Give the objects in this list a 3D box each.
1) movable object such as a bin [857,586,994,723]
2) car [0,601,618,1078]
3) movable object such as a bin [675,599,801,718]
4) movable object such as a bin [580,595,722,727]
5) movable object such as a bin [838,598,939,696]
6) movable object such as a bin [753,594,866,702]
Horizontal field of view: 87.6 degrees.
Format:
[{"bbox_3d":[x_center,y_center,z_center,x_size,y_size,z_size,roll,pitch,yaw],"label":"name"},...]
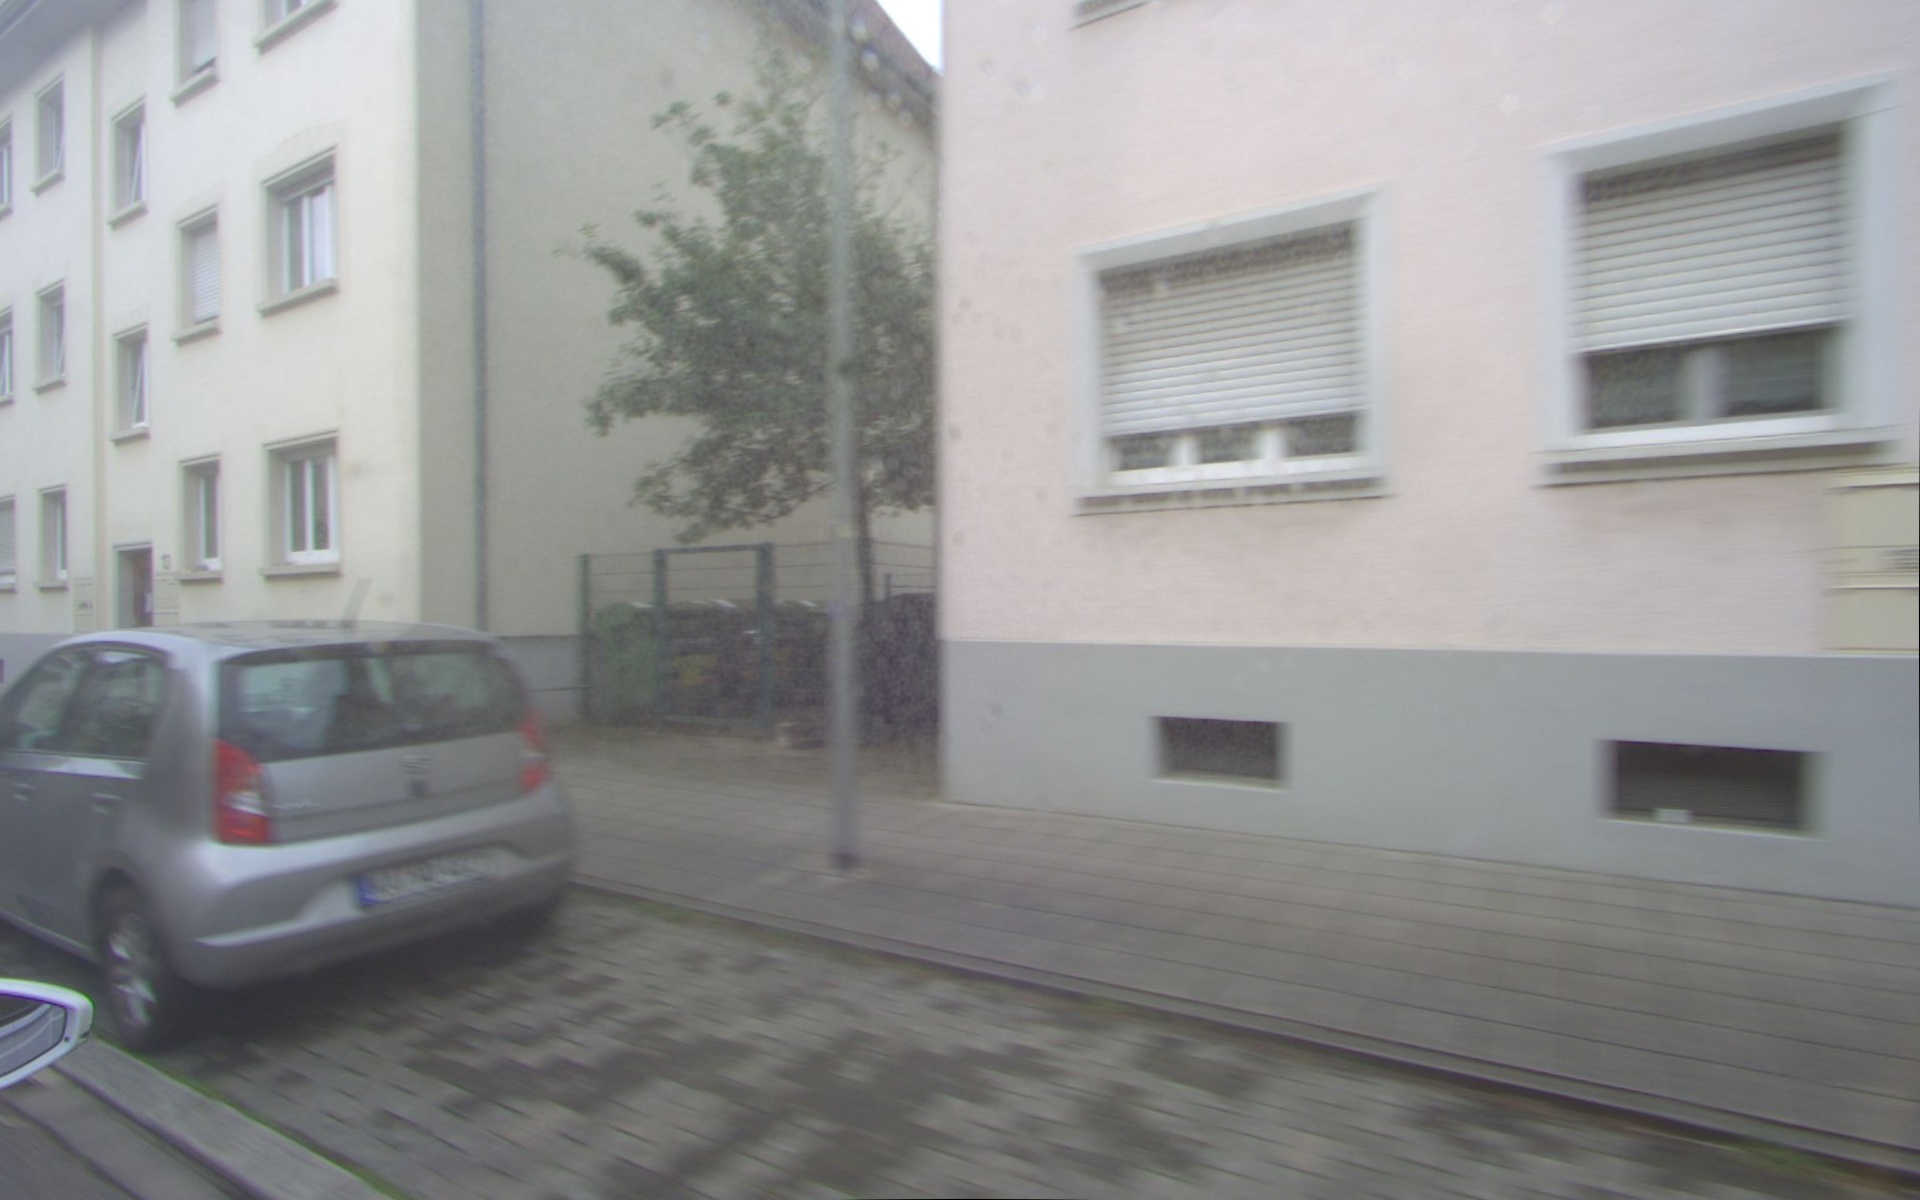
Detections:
[{"bbox_3d":[-0.382,0.591,11.491,1.133,1.463,1.159,0,0,32],"label":"movable object such as a bin"},{"bbox_3d":[-3.725,0.787,4.974,4.002,1.511,1.722,0,-1,32],"label":"car"},{"bbox_3d":[-2.881,0.723,13.053,1.133,1.463,1.159,0,0,32],"label":"movable object such as a bin"},{"bbox_3d":[-3.637,0.683,11.837,1.133,1.463,1.159,0,0,32],"label":"movable object such as a bin"},{"bbox_3d":[-1.118,0.712,15.832,1.133,1.463,1.159,0,0,32],"label":"movable object such as a bin"},{"bbox_3d":[-2.148,0.662,14.321,1.133,1.463,1.159,0,0,32],"label":"movable object such as a bin"}]
